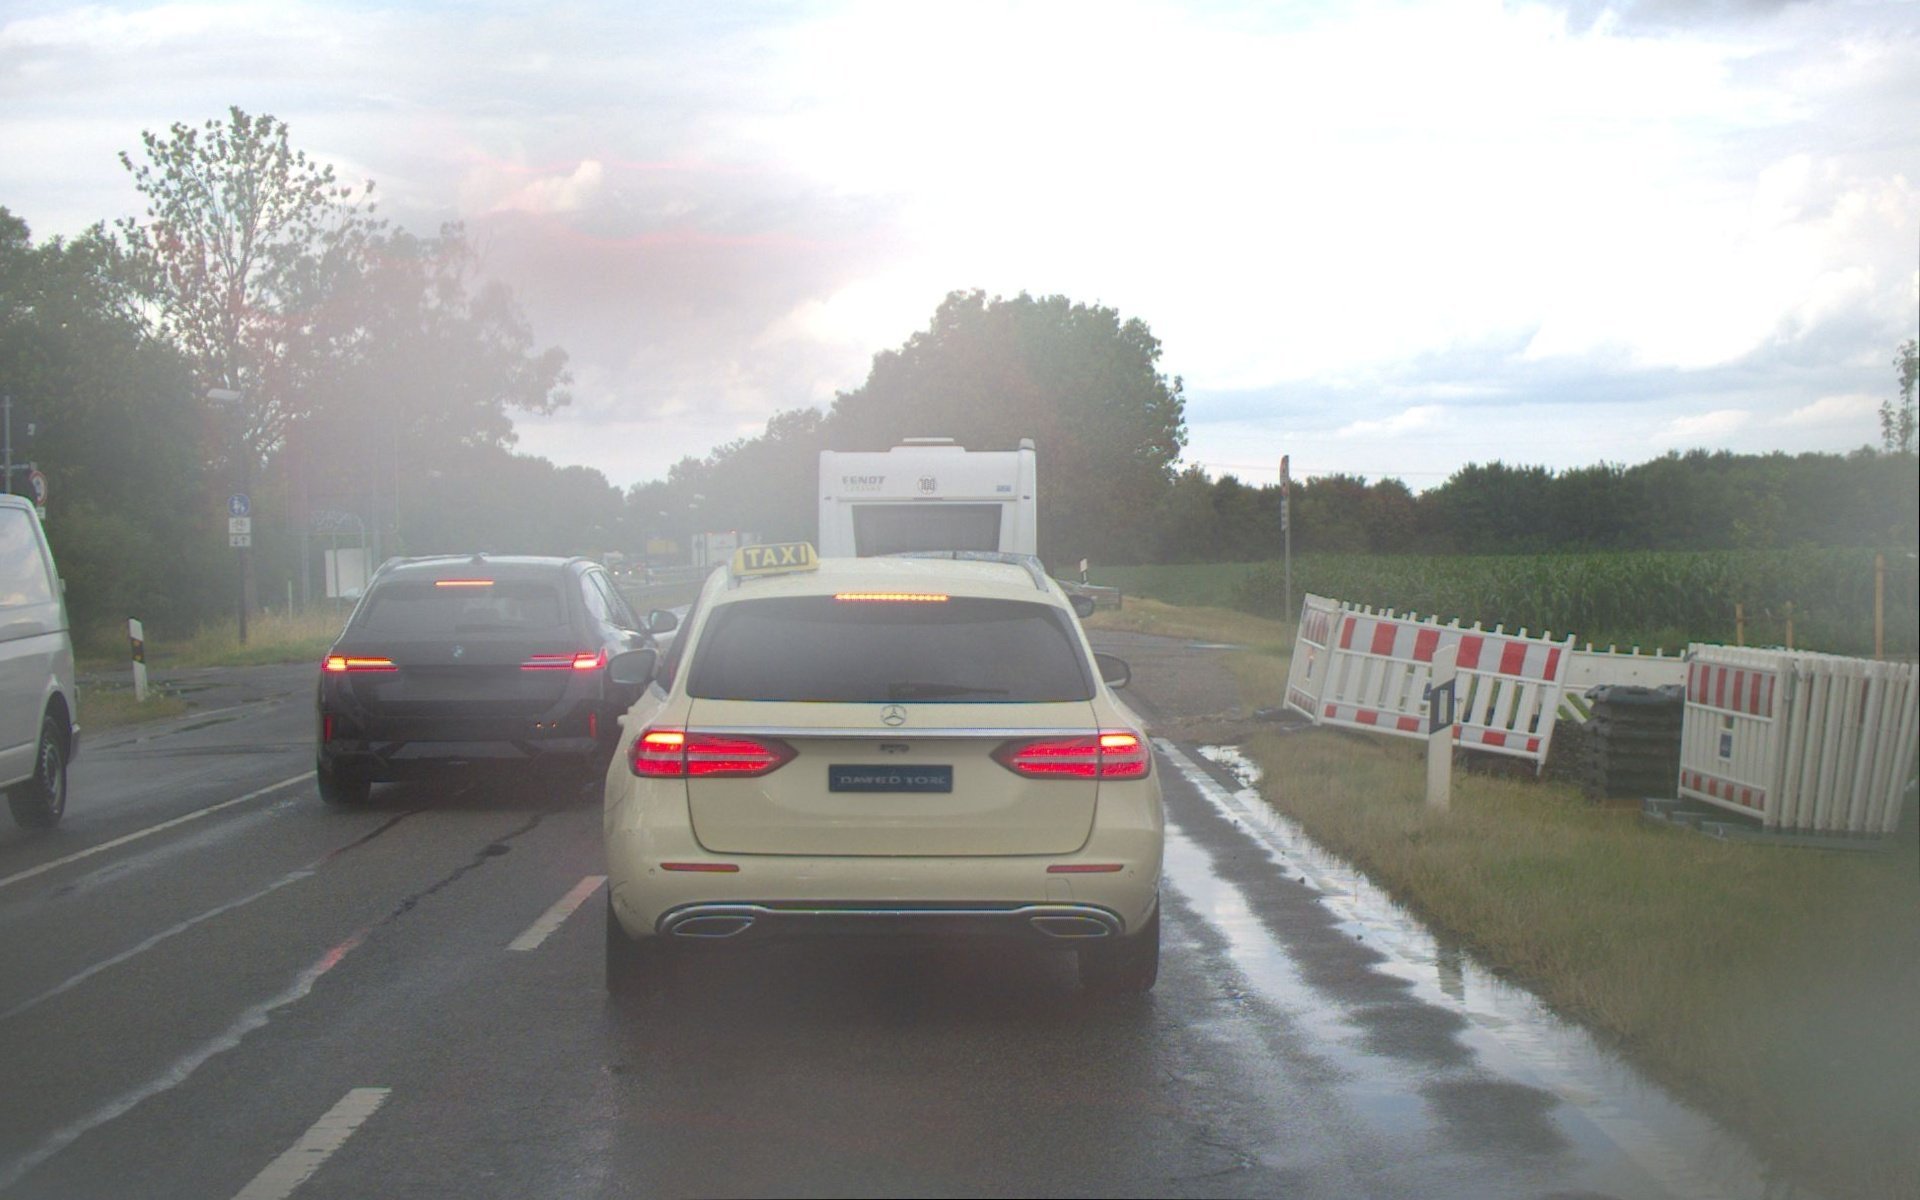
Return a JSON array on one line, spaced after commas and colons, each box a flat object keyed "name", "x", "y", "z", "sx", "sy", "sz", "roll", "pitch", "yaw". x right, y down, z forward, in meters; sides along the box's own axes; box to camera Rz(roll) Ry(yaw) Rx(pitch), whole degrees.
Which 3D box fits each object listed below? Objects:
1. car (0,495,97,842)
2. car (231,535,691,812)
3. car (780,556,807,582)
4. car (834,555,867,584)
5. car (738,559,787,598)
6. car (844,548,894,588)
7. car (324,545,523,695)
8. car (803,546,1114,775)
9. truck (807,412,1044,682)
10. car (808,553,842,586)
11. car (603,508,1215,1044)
[{"name": "car", "x": -6.110, "y": 0.411, "z": 18.180, "sx": 1.916, "sy": 1.855, "sz": 4.685, "roll": -3, "pitch": 1, "yaw": -1}, {"name": "car", "x": -3.004, "y": 0.397, "z": 21.788, "sx": 2.302, "sy": 1.542, "sz": 4.633, "roll": 1, "pitch": 0, "yaw": -1}, {"name": "car", "x": -12.399, "y": -2.325, "z": 256.227, "sx": 1.895, "sy": 1.833, "sz": 3.882, "roll": -1, "pitch": 1, "yaw": -1}, {"name": "car", "x": -5.808, "y": -1.621, "z": 182.130, "sx": 1.682, "sy": 1.545, "sz": 3.753, "roll": 1, "pitch": 1, "yaw": -1}, {"name": "car", "x": -7.680, "y": -0.857, "z": 133.676, "sx": 1.719, "sy": 1.399, "sz": 4.044, "roll": -3, "pitch": 1, "yaw": -2}, {"name": "car", "x": -4.106, "y": -1.451, "z": 154.886, "sx": 1.993, "sy": 1.766, "sz": 4.001, "roll": -1, "pitch": 1, "yaw": -5}, {"name": "car", "x": -6.524, "y": 0.205, "z": 42.217, "sx": 1.704, "sy": 1.665, "sz": 4.156, "roll": -3, "pitch": 1, "yaw": 0}, {"name": "car", "x": -0.043, "y": 0.372, "z": 24.177, "sx": 1.993, "sy": 1.457, "sz": 4.000, "roll": 1, "pitch": 0, "yaw": -1}, {"name": "truck", "x": -0.415, "y": -0.598, "z": 38.992, "sx": 2.363, "sy": 2.719, "sz": 7.315, "roll": -1, "pitch": 1, "yaw": -1}, {"name": "car", "x": -8.161, "y": -1.837, "z": 207.558, "sx": 1.895, "sy": 1.888, "sz": 3.844, "roll": -1, "pitch": 1, "yaw": -4}, {"name": "car", "x": -0.188, "y": 0.508, "z": 12.359, "sx": 1.842, "sy": 1.612, "sz": 4.000, "roll": 0, "pitch": 1, "yaw": -1}]
